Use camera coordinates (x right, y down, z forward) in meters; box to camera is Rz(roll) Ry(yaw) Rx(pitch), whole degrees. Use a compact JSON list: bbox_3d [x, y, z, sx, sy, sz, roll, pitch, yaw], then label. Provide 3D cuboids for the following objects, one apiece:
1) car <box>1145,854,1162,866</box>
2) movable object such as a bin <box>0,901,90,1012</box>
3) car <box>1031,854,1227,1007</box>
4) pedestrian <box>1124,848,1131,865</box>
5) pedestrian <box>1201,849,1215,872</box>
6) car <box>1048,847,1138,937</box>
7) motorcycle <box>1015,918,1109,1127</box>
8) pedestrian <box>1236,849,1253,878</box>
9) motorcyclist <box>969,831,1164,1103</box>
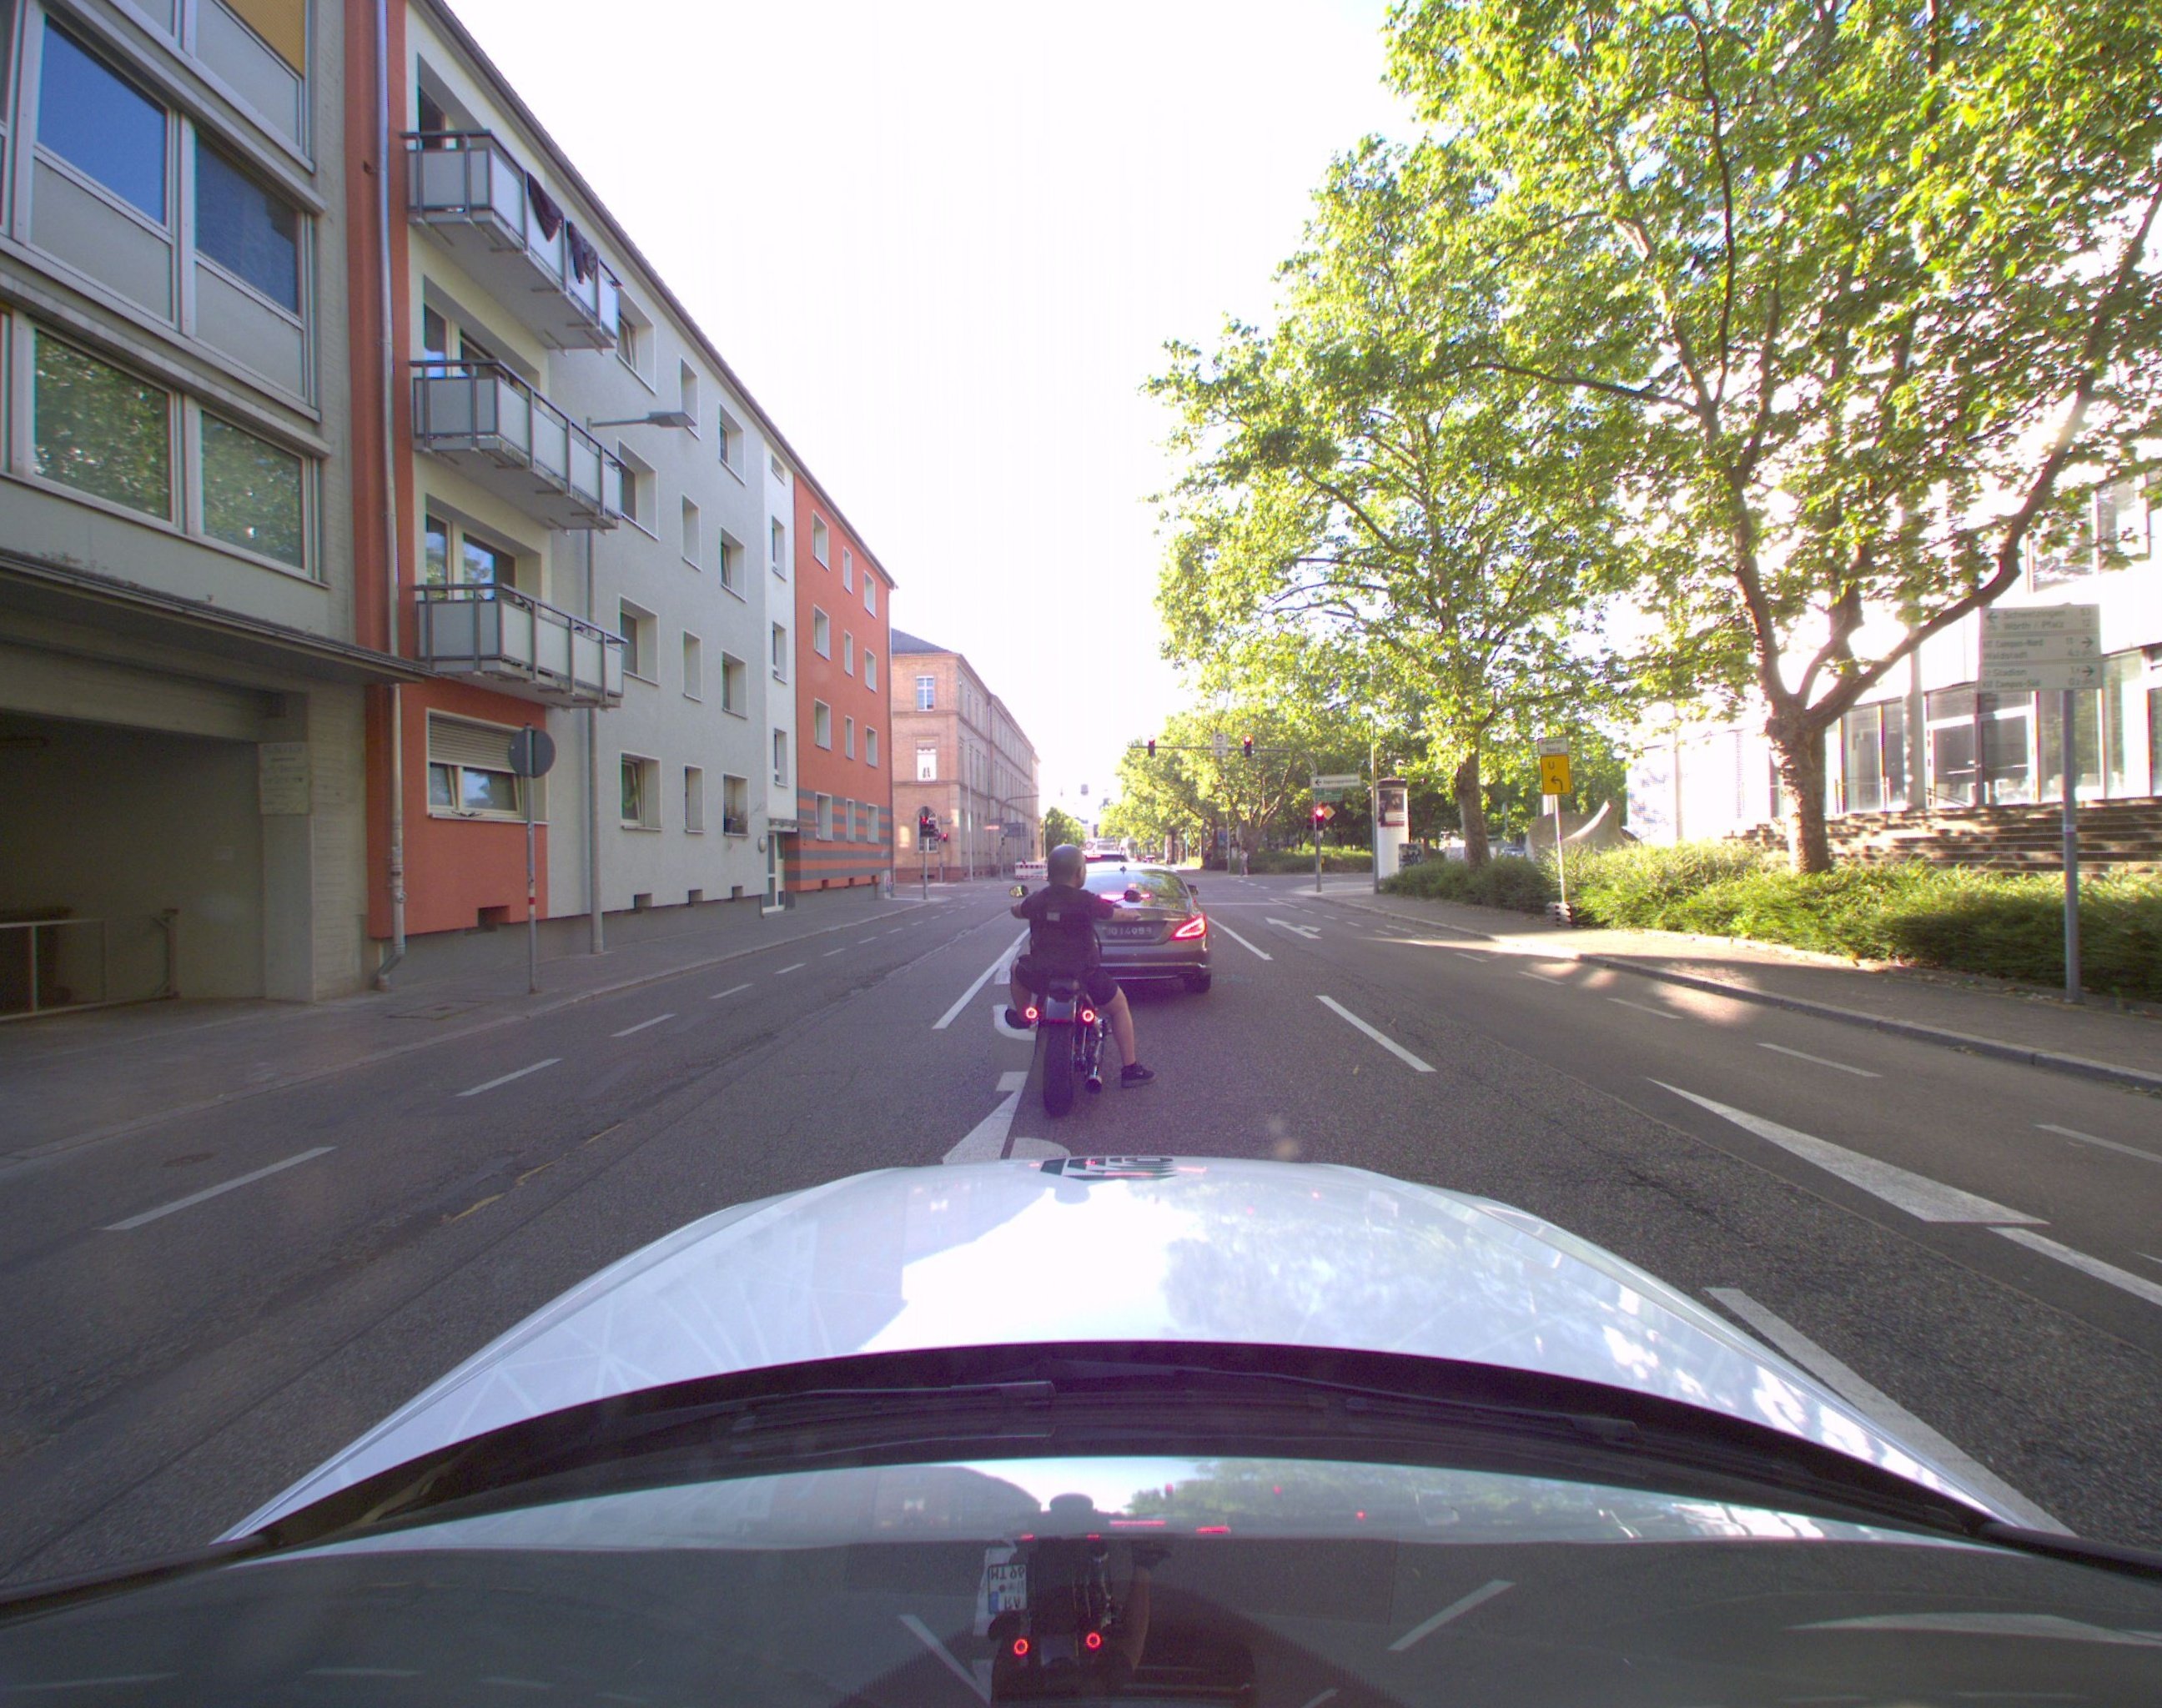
[{"bbox_3d":[8.989,0.739,101.021,1.769,1.428,3.804,-1,0,2],"label":"car"},{"bbox_3d":[-11.254,1.068,8.652,0.626,1.100,0.659,0,-1,4],"label":"movable object such as a bin"},{"bbox_3d":[0.520,0.741,9.749,1.875,1.449,3.821,0,0,2],"label":"car"},{"bbox_3d":[5.758,0.274,100.924,0.761,2.051,0.712,0,-1,1],"label":"pedestrian"},{"bbox_3d":[10.756,0.552,69.152,0.753,1.910,0.918,0,-1,-26],"label":"pedestrian"},{"bbox_3d":[0.279,0.694,16.877,1.615,1.594,4.002,-1,0,2],"label":"car"},{"bbox_3d":[-0.073,1.007,5.488,0.511,1.002,2.014,0,-1,2],"label":"motorcycle"},{"bbox_3d":[10.744,0.623,53.541,0.996,1.826,1.078,0,-1,8],"label":"pedestrian"},{"bbox_3d":[-0.069,0.674,5.457,1.145,1.598,1.288,0,-1,1],"label":"motorcyclist"}]
